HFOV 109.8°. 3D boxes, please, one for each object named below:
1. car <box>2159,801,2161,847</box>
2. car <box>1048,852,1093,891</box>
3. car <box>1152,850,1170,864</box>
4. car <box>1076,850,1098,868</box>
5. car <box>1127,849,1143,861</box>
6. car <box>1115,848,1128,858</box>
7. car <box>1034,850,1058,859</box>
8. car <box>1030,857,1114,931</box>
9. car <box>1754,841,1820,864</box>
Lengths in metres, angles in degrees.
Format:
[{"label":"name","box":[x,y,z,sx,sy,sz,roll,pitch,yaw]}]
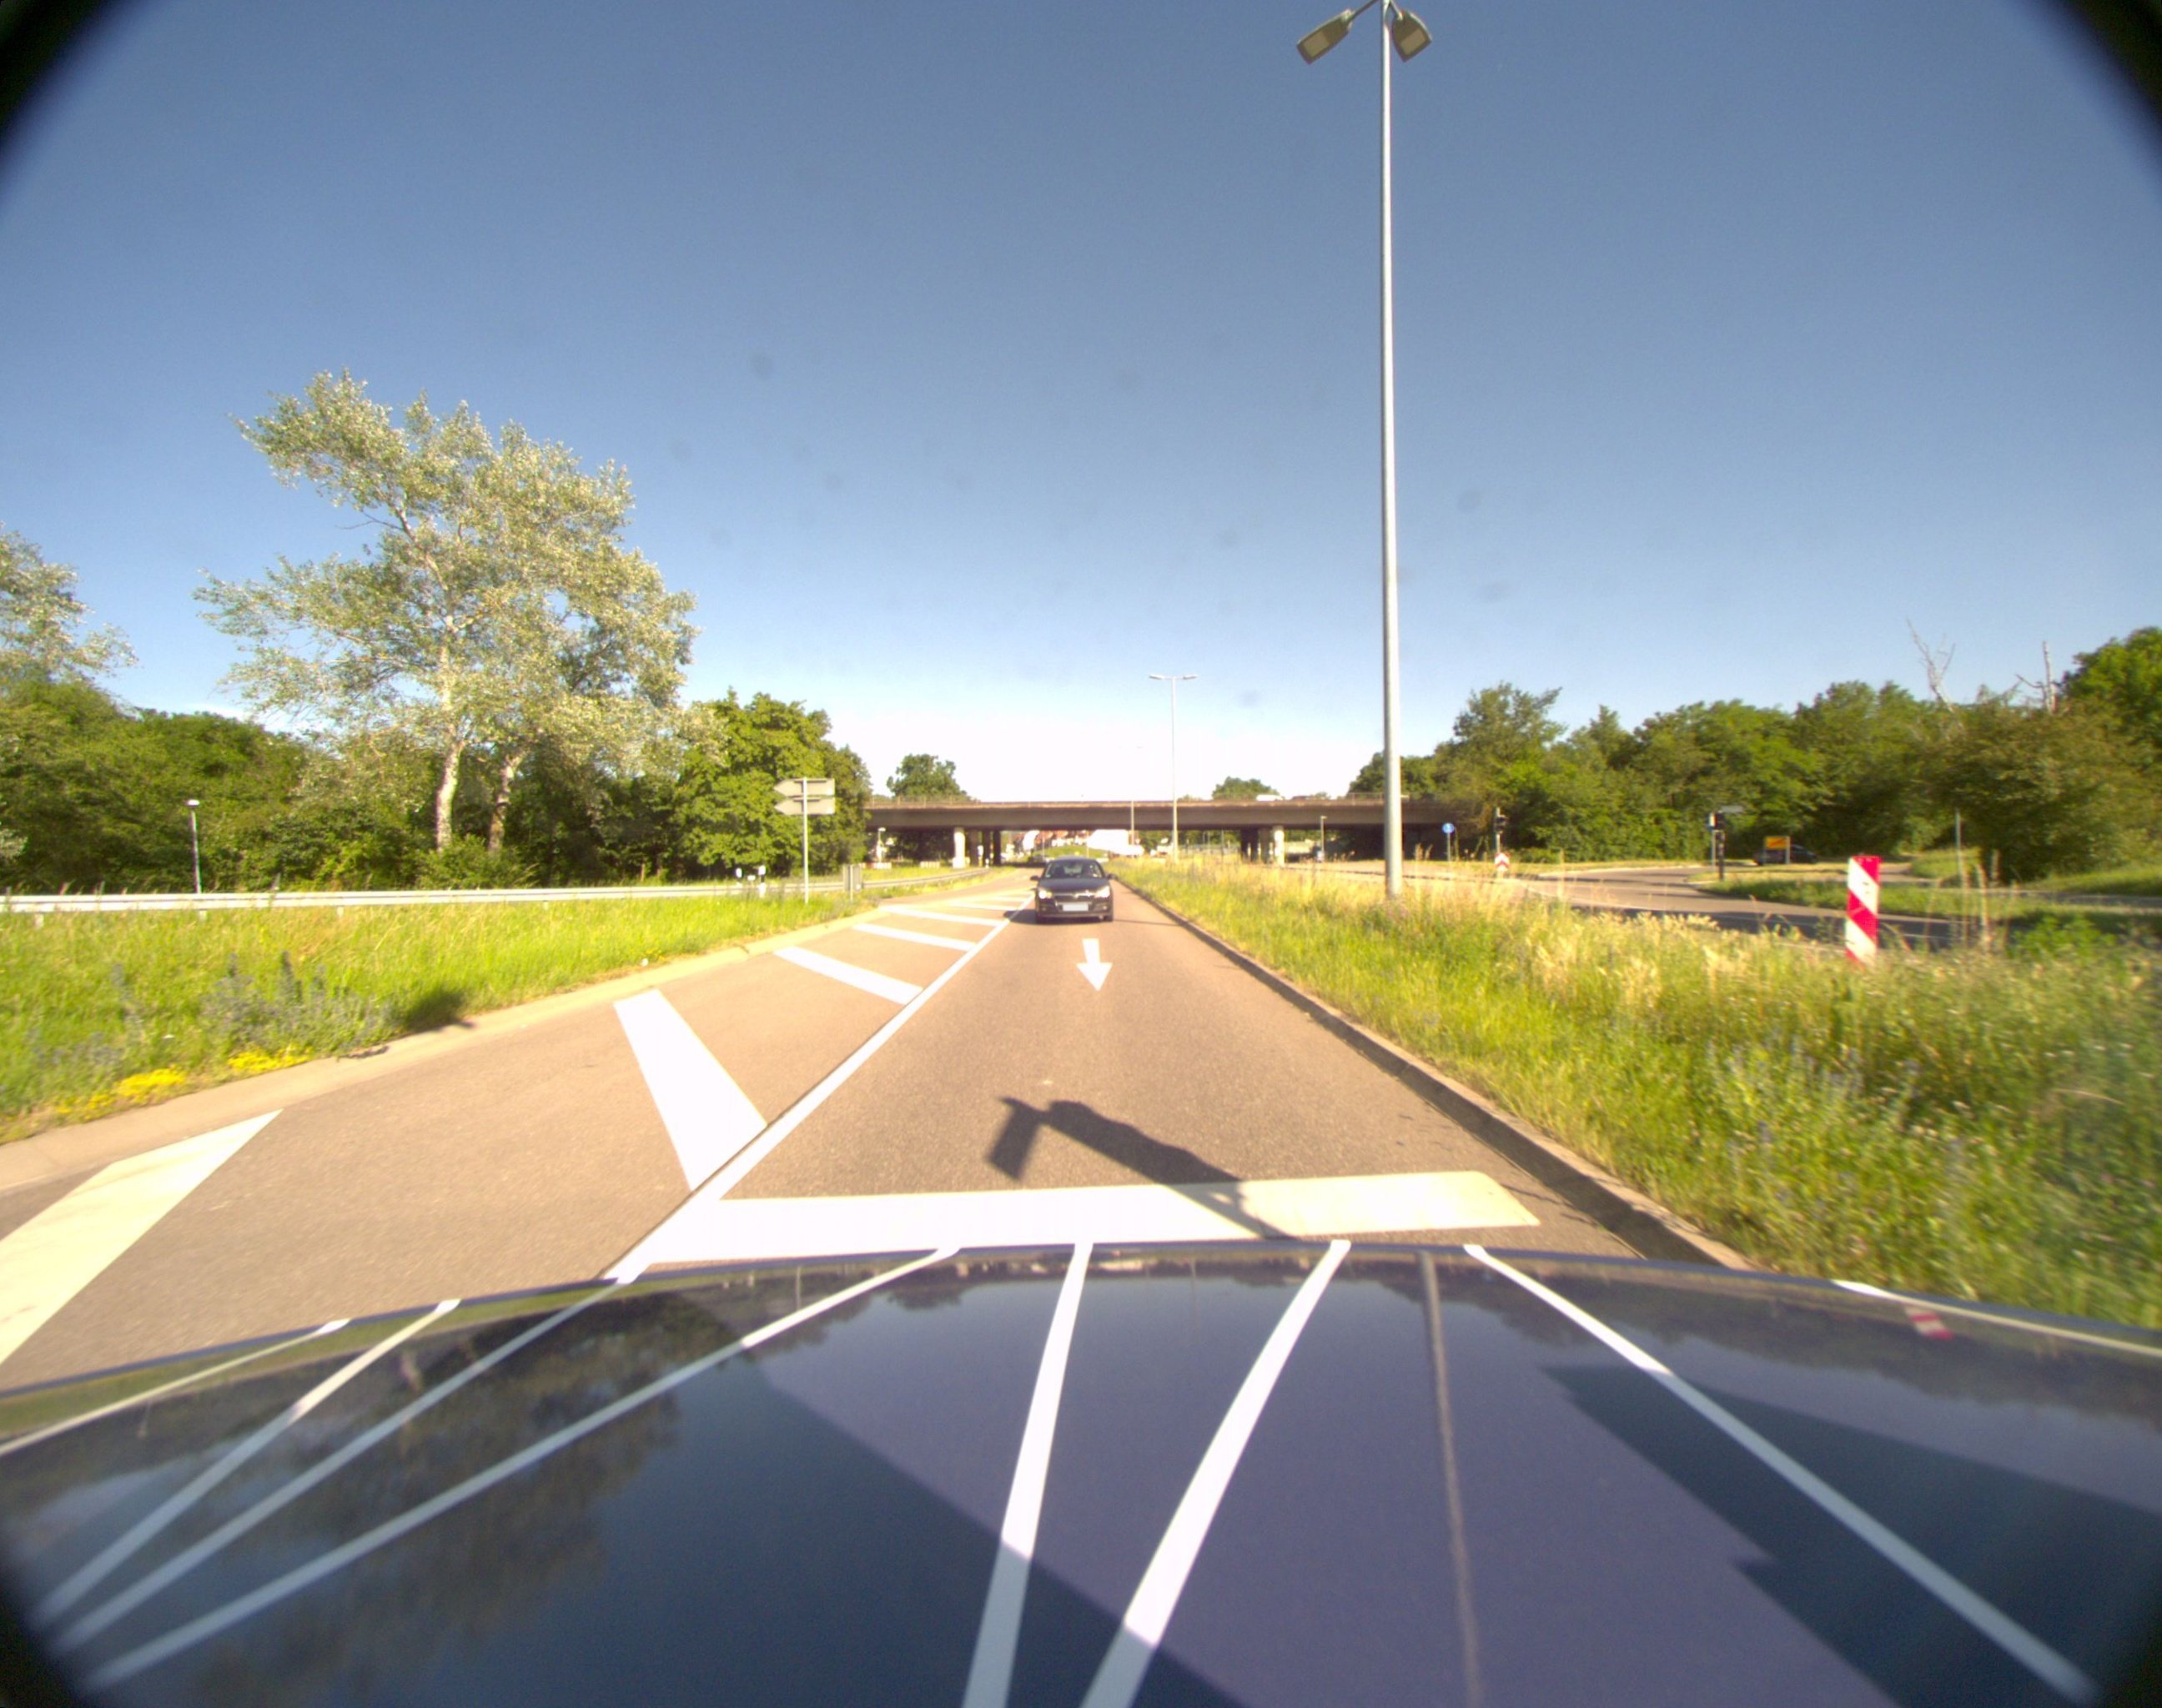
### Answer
[{"label":"car","box":[37.838,-1.008,23.896,4.120,1.543,1.899,0,1,31]},{"label":"car","box":[-0.416,0.711,33.252,1.827,1.528,4.041,-1,1,0]},{"label":"car","box":[8.992,0.337,85.847,1.637,1.436,4.103,-1,0,0]},{"label":"car","box":[0.538,0.384,67.605,1.827,1.528,4.042,-1,0,0]},{"label":"car","box":[7.275,0.090,103.013,1.637,1.521,3.591,-1,1,-5]},{"label":"car","box":[6.465,-0.157,121.204,1.637,1.521,3.591,-1,1,-4]},{"label":"car","box":[-5.797,0.117,126.386,1.832,1.528,4.031,-1,1,-39]},{"label":"car","box":[-0.133,0.847,17.824,1.706,1.447,3.959,-2,0,2]},{"label":"car","box":[47.210,-0.128,50.822,4.388,1.417,1.782,-1,2,-27]}]
